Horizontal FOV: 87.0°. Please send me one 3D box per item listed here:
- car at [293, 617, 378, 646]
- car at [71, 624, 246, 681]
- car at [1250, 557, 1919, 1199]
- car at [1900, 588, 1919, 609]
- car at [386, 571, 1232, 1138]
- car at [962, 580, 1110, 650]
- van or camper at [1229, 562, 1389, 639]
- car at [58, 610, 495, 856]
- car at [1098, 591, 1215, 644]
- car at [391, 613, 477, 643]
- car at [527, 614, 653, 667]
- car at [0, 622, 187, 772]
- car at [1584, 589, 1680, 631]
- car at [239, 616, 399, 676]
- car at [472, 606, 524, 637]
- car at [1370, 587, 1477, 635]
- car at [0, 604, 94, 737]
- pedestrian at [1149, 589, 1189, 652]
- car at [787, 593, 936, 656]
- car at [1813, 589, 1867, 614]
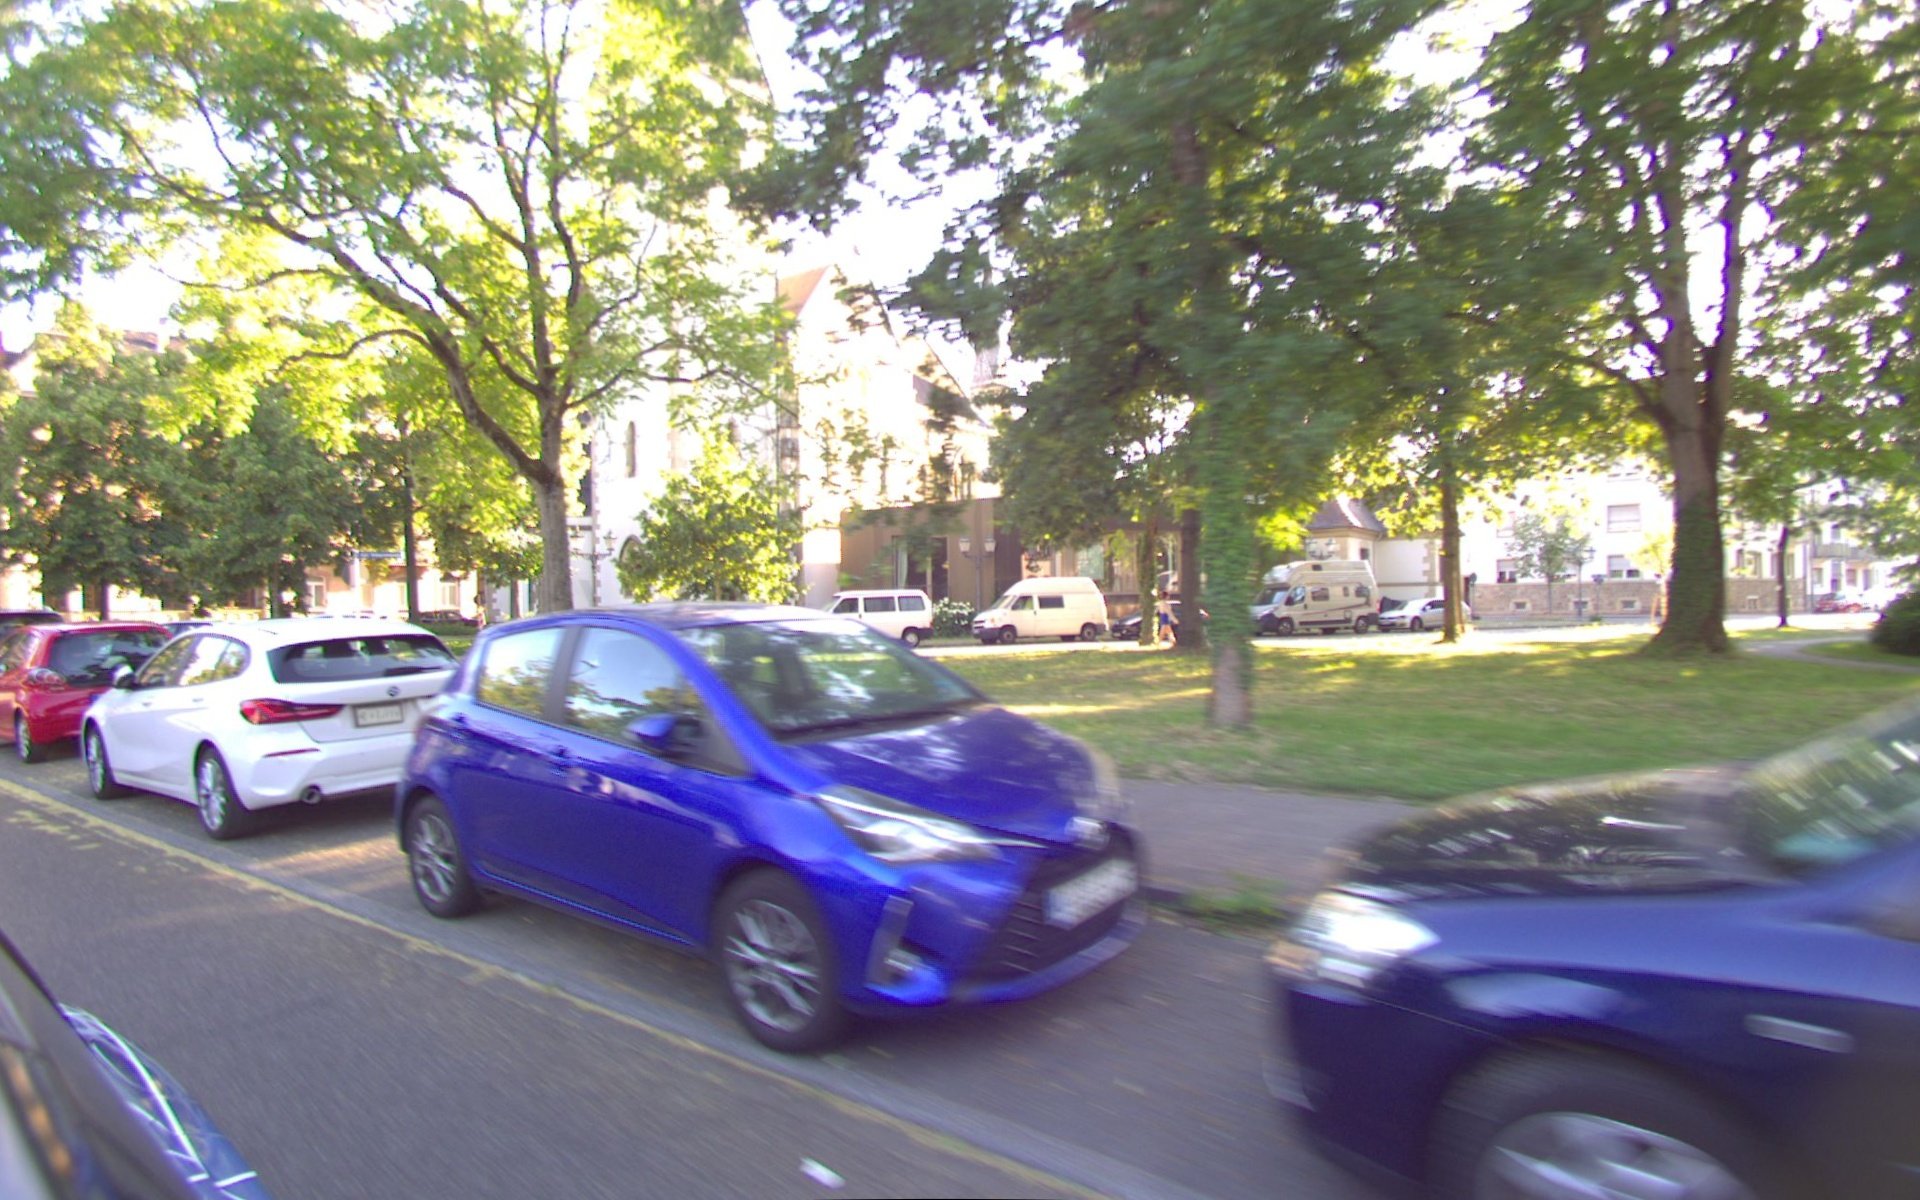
[{"bbox_3d":[-39.602,1.995,64.228,1.996,1.668,4.169,-2,-1,36],"label":"car"},{"bbox_3d":[-22.566,1.459,28.634,3.544,1.451,1.622,-1,-2,-17],"label":"car"},{"bbox_3d":[2.679,0.658,1.662,3.939,1.506,1.536,-2,-1,40],"label":"car"},{"bbox_3d":[68.176,-0.156,71.567,3.813,1.424,1.690,-1,-1,-35],"label":"car"},{"bbox_3d":[-0.886,0.712,4.531,3.700,1.507,1.623,-2,1,39],"label":"car"},{"bbox_3d":[2.795,0.531,37.064,5.096,2.373,1.863,-1,-1,-24],"label":"car"},{"bbox_3d":[14.307,-0.012,41.429,6.222,2.930,2.103,-1,-1,-21],"label":"van or camper"},{"bbox_3d":[-5.545,0.862,8.039,3.968,1.417,1.675,-2,1,38],"label":"car"},{"bbox_3d":[7.588,0.655,39.085,4.072,1.900,1.863,-1,0,-24],"label":"car"},{"bbox_3d":[-31.569,1.668,60.817,1.887,1.668,4.170,-2,-1,35],"label":"car"},{"bbox_3d":[-11.659,1.236,32.038,3.633,1.513,1.626,-1,0,-18],"label":"car"},{"bbox_3d":[-10.419,1.023,11.782,3.421,1.434,1.375,-2,1,38],"label":"car"},{"bbox_3d":[32.003,0.463,48.212,4.072,1.900,1.863,-1,0,-24],"label":"car"},{"bbox_3d":[-18.648,1.309,29.626,3.633,1.591,1.715,-1,0,-18],"label":"car"},{"bbox_3d":[-36.097,1.695,78.986,4.212,2.278,1.869,-2,-1,36],"label":"car"},{"bbox_3d":[19.778,0.450,43.165,4.072,1.900,1.863,-1,0,-24],"label":"car"},{"bbox_3d":[-14.204,0.986,14.536,4.314,1.688,1.785,-2,1,38],"label":"car"},{"bbox_3d":[5.424,0.525,26.331,0.755,1.586,0.777,-1,-1,-8],"label":"pedestrian"},{"bbox_3d":[-3.378,0.814,34.714,4.757,1.961,1.863,-1,0,-18],"label":"car"},{"bbox_3d":[54.106,0.089,62.225,3.348,1.457,1.520,-1,-1,-31],"label":"car"}]
